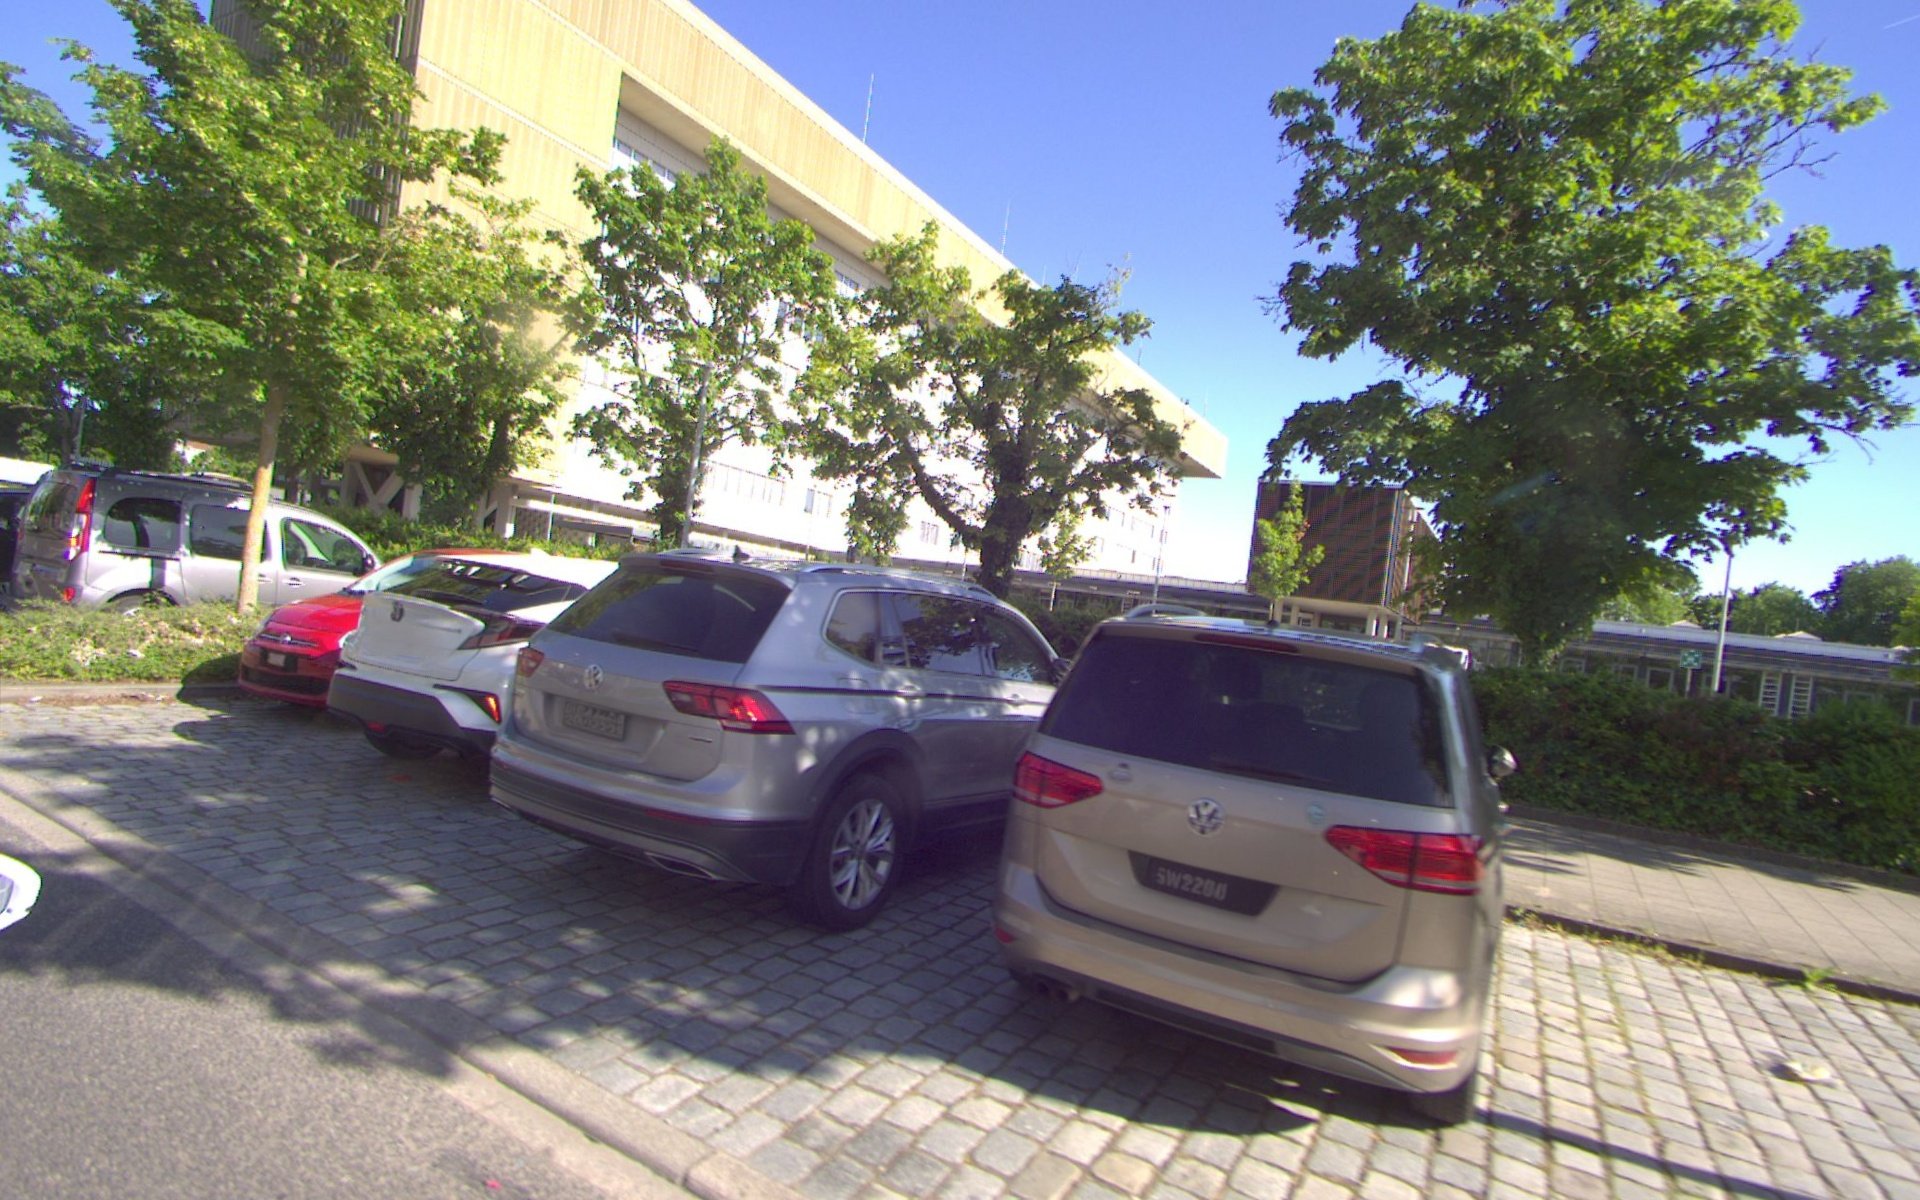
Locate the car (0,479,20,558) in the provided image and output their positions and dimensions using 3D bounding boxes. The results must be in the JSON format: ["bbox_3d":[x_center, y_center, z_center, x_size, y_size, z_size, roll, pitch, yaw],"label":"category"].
[{"bbox_3d":[-20.275,-1.825,18.533,1.713,1.504,3.907,7,-1,30],"label":"car"}]

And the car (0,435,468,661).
[{"bbox_3d":[-8.256,-0.459,11.572,1.945,1.951,4.126,9,0,29],"label":"car"}]

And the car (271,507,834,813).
[{"bbox_3d":[-2.707,0.418,7.493,1.707,1.548,3.505,8,0,26],"label":"car"}]

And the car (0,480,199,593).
[{"bbox_3d":[-14.268,-1.043,15.154,1.713,1.443,4.065,7,0,32],"label":"car"}]

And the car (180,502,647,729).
[{"bbox_3d":[-4.676,0.185,9.140,1.571,1.548,3.373,7,-1,23],"label":"car"}]

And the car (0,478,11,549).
[{"bbox_3d":[-22.208,-2.088,20.432,1.624,1.522,3.870,7,-1,29],"label":"car"}]

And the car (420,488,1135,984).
[{"bbox_3d":[-0.639,0.602,5.901,1.907,1.716,3.907,9,0,29],"label":"car"}]

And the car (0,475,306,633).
[{"bbox_3d":[-10.636,-0.570,12.601,1.677,1.568,3.613,9,0,29],"label":"car"}]

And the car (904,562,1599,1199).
[{"bbox_3d":[1.713,0.921,4.960,1.879,1.627,4.329,7,0,28],"label":"car"}]
